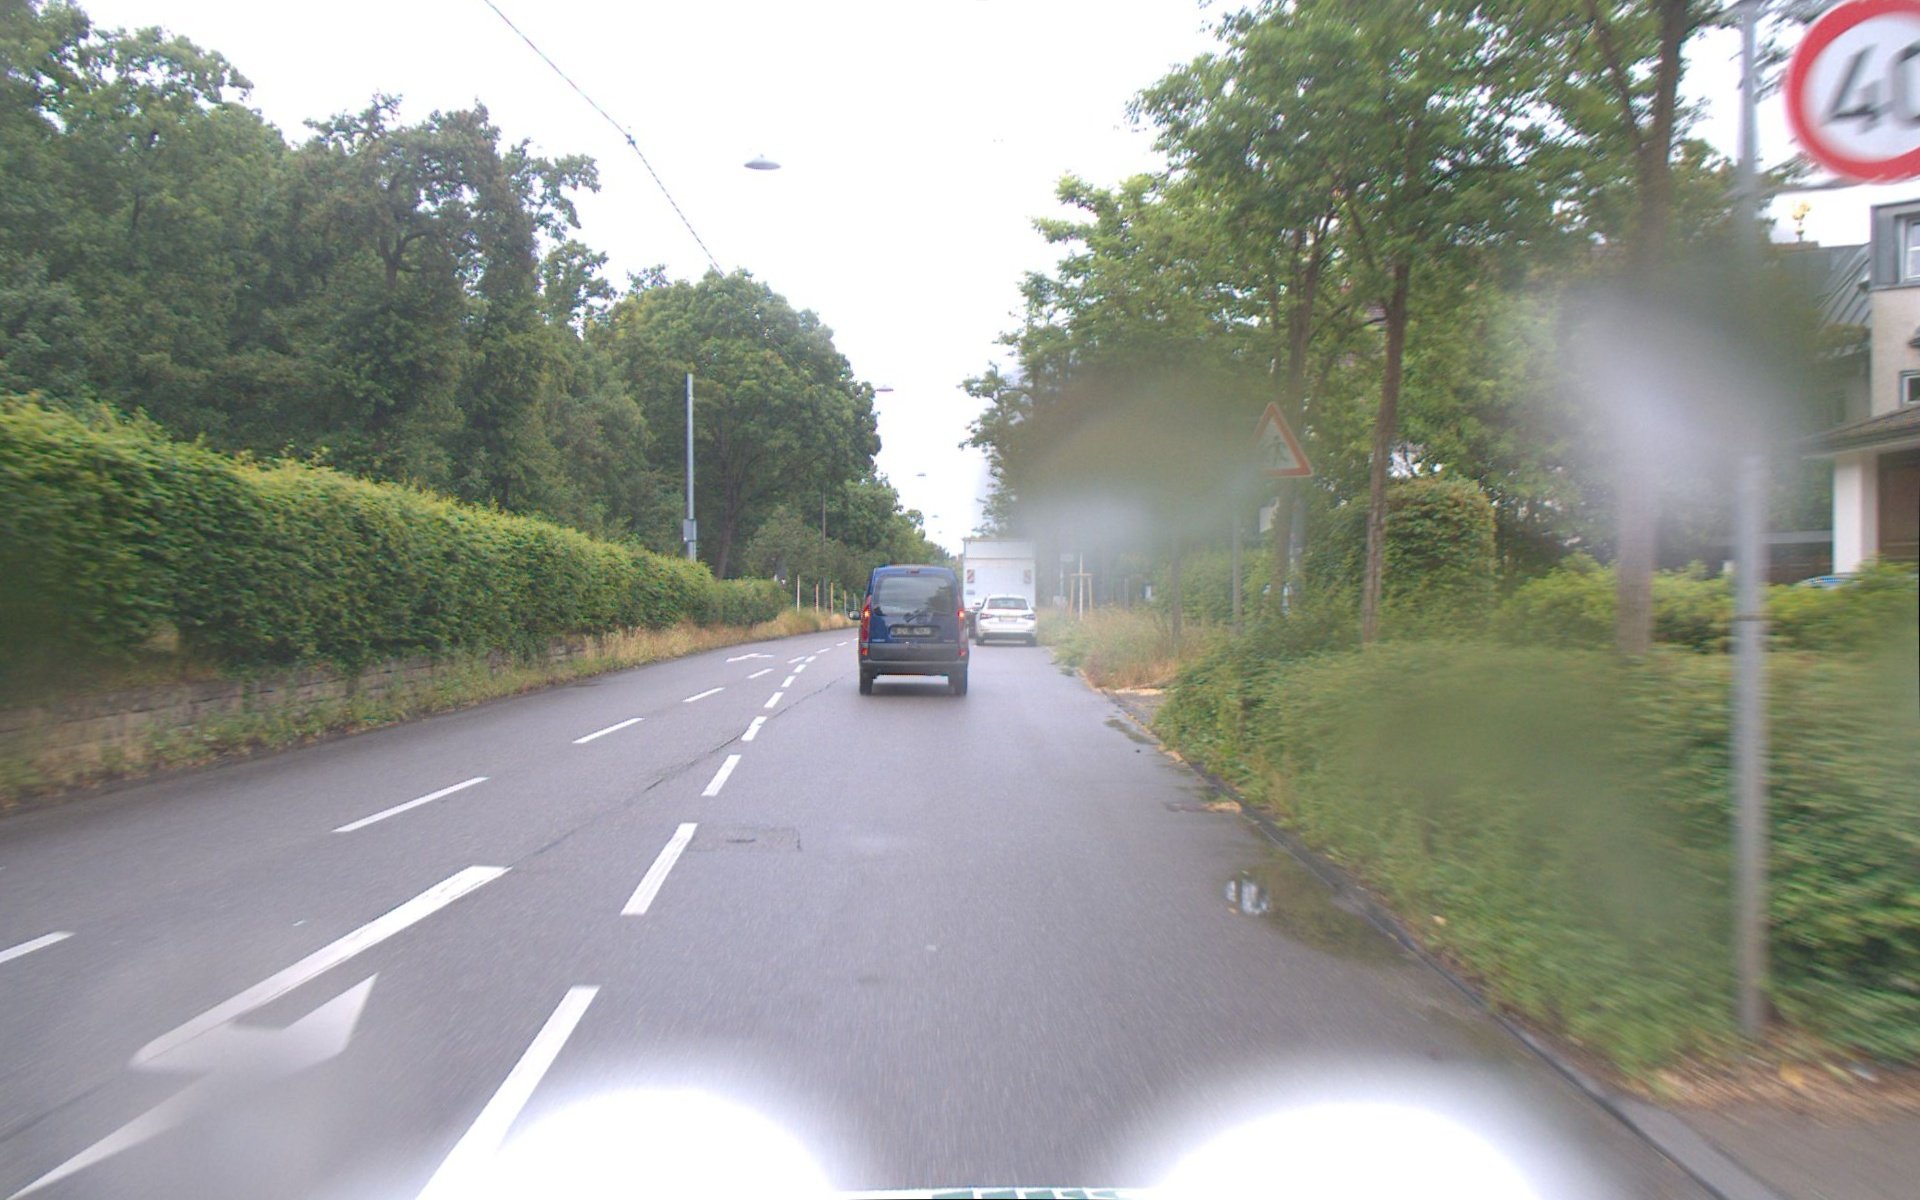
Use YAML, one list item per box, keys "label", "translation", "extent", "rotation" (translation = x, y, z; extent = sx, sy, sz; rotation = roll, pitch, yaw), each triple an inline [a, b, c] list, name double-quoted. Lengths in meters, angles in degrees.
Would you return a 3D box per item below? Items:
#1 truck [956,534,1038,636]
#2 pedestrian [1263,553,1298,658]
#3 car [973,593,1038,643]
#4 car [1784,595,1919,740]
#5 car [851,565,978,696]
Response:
- label: "truck"
  translation: [1.265, -0.521, 59.963]
  extent: [2.676, 3.446, 6.684]
  rotation: [-1, 0, -1]
- label: "pedestrian"
  translation: [5.332, 0.088, 27.525]
  extent: [0.549, 1.738, 0.516]
  rotation: [0, 0, 9]
- label: "car"
  translation: [1.308, 0.516, 49.118]
  extent: [1.776, 1.404, 4.284]
  rotation: [-1, 0, 0]
- label: "car"
  translation: [8.873, 0.567, 14.232]
  extent: [1.793, 1.197, 4.002]
  rotation: [1, 0, 4]
- label: "car"
  translation: [-0.754, 0.422, 25.279]
  extent: [1.773, 1.829, 3.997]
  rotation: [0, 0, -3]
